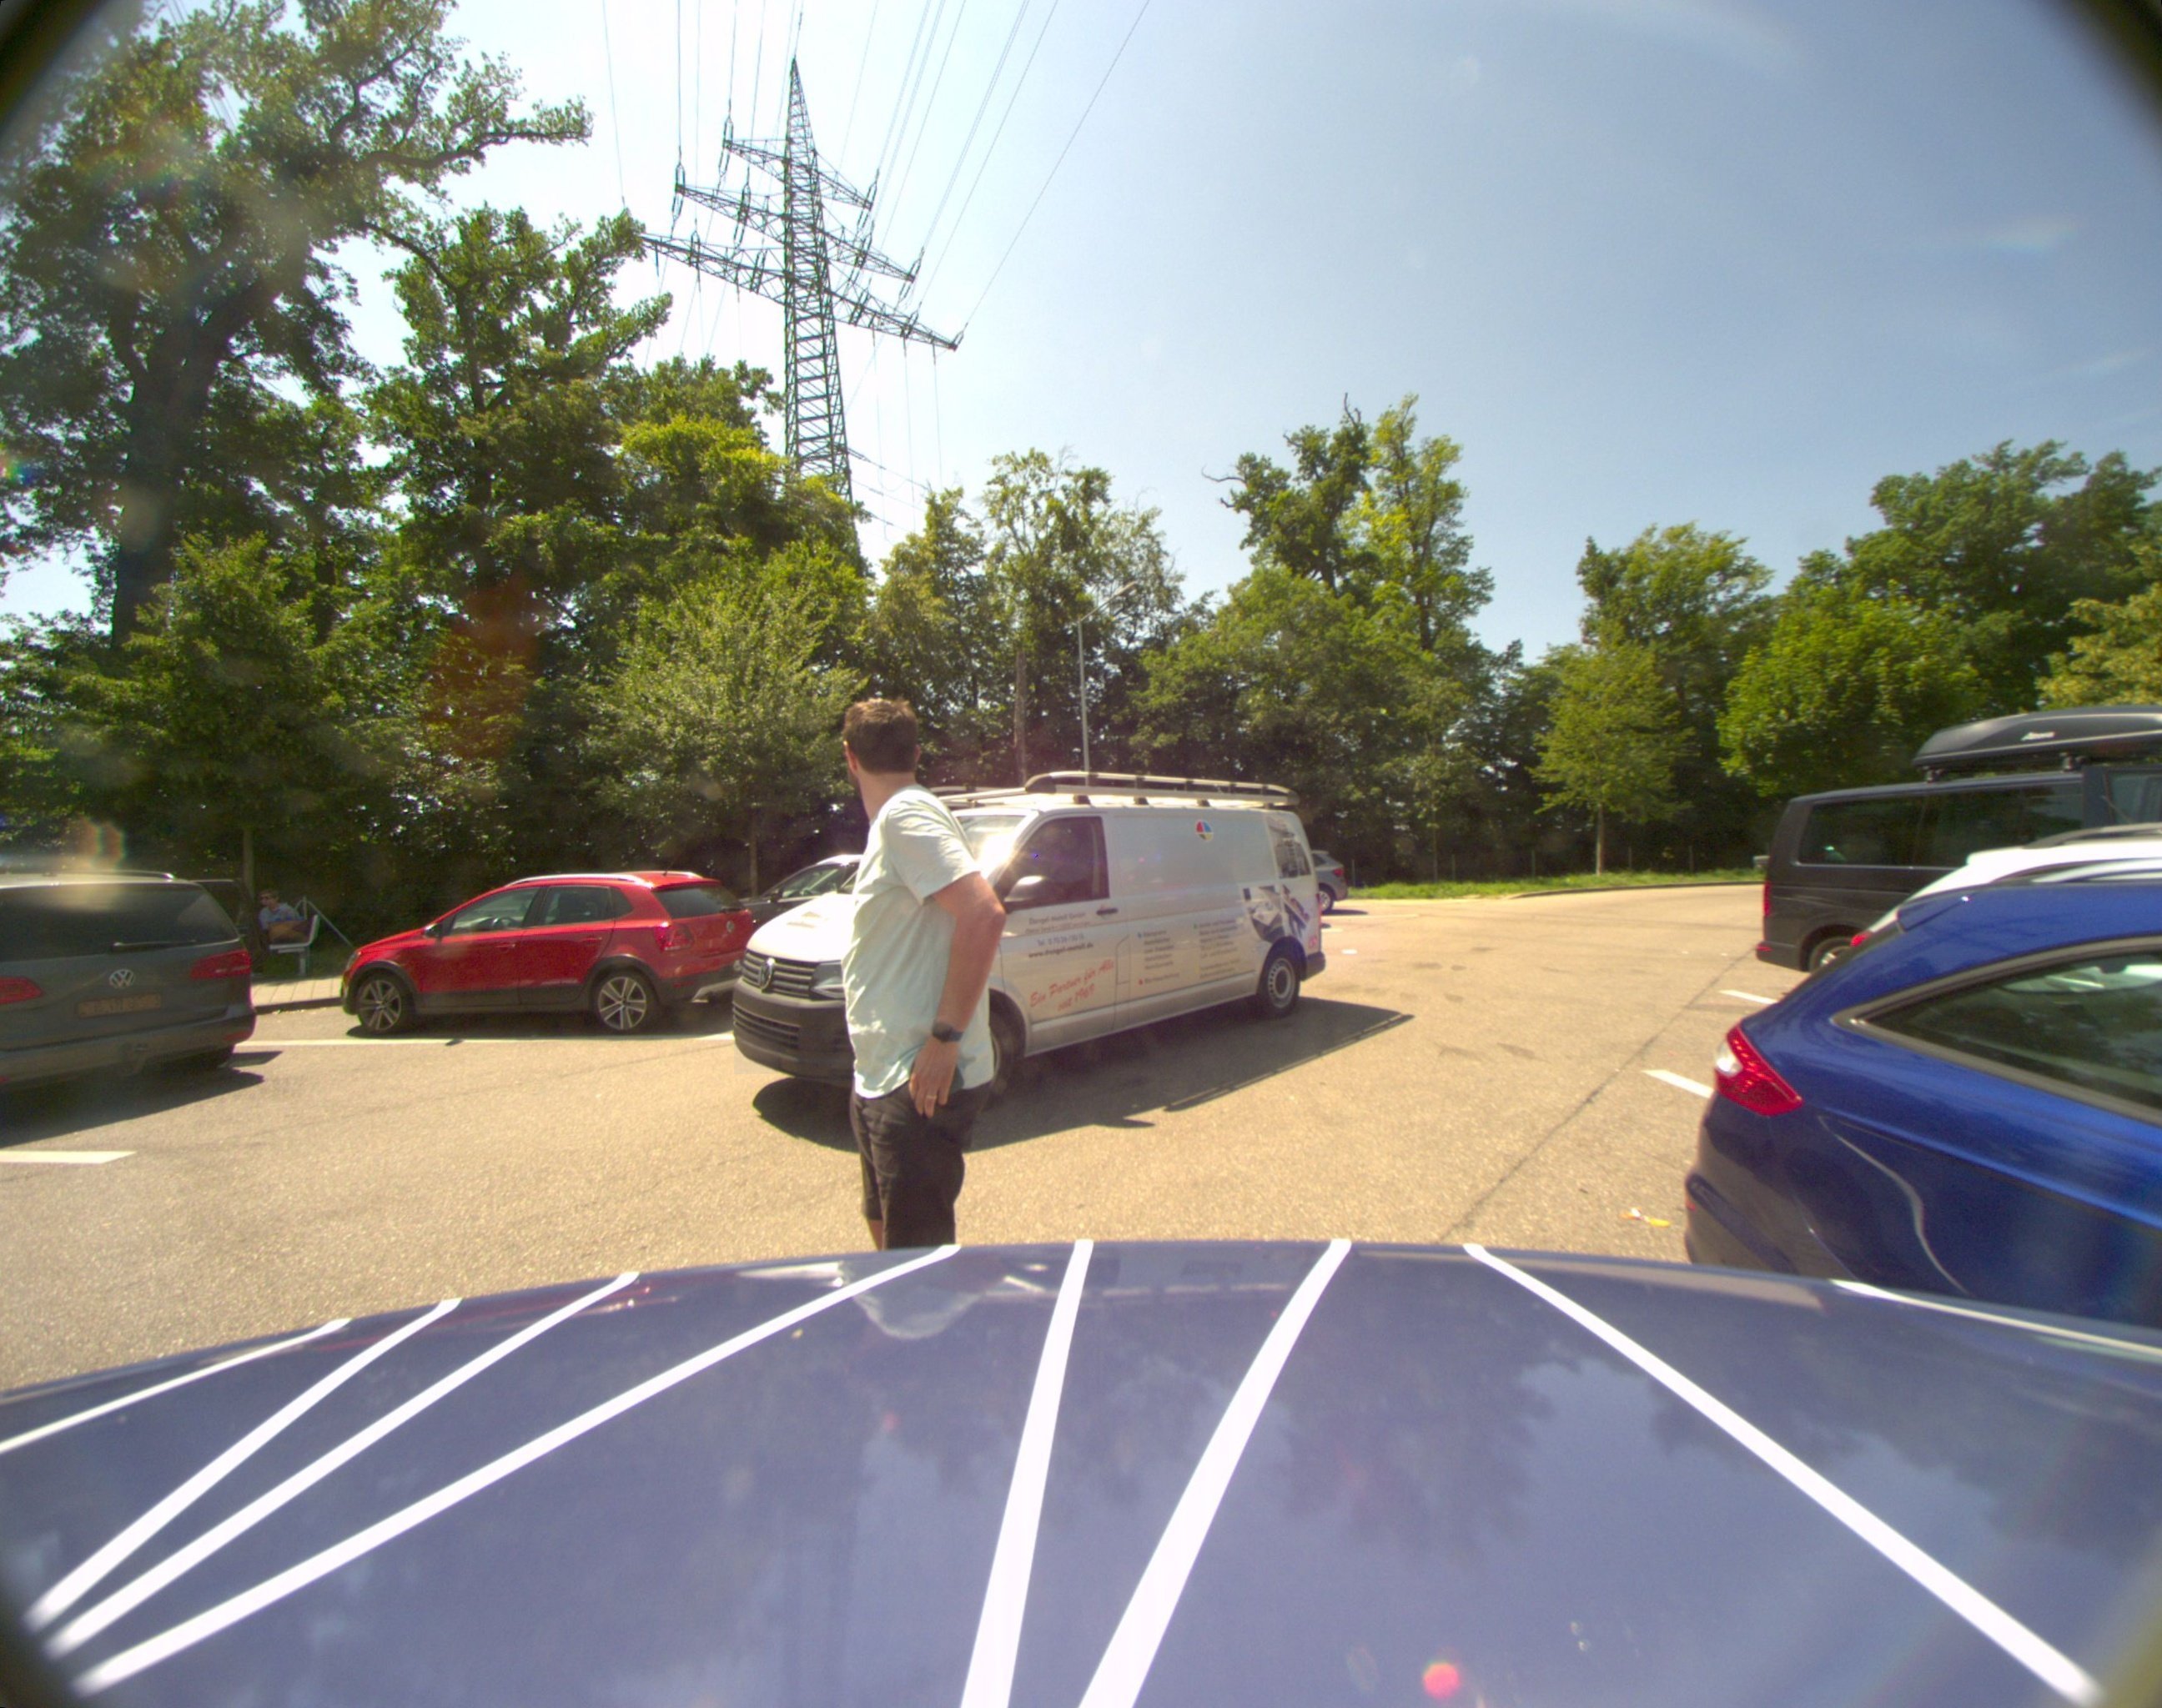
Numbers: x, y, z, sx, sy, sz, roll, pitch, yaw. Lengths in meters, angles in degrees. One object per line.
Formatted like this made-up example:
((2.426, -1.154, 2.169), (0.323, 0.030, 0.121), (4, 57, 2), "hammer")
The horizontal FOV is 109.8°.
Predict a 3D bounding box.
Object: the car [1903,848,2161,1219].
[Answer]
((4.677, 0.660, 2.141), (1.344, 1.352, 3.114), (-2, 0, 1), "car")

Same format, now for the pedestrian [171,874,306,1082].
((-7.385, 1.047, 6.676), (0.481, 1.712, 0.589), (-2, 1, 22), "pedestrian")

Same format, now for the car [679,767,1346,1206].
((0.004, 0.598, 6.186), (5.445, 2.092, 1.839), (-2, 1, -45), "car")

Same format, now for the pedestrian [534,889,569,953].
((-10.114, 1.267, 14.516), (0.366, 1.186, 0.356), (-2, 1, 21), "pedestrian")

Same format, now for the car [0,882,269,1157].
((-8.438, 1.105, 5.435), (3.903, 1.607, 1.705), (-2, 1, 11), "car")

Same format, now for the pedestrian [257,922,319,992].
((-10.861, 1.400, 10.420), (0.503, 0.873, 0.512), (-3, -1, -39), "pedestrian")

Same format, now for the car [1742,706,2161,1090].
((7.306, 0.248, 5.165), (1.788, 2.304, 4.084), (-2, 0, -5), "car")

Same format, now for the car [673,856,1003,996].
((-3.108, 0.902, 10.287), (3.866, 1.607, 1.709), (-2, 0, 0), "car")

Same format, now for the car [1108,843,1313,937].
((2.541, 0.695, 15.452), (3.850, 1.678, 1.755), (-2, 0, 4), "car")

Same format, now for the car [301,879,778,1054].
((-5.260, 1.064, 7.645), (3.745, 1.458, 1.621), (-2, 0, 7), "car")

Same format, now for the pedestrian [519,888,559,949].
((-10.964, 1.291, 15.377), (0.413, 1.186, 0.443), (-2, 1, 12), "pedestrian")

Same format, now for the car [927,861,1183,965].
((-0.337, 0.894, 12.212), (3.773, 1.445, 1.848), (-2, 0, 4), "car")

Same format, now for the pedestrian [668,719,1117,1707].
((-0.425, 0.687, 1.758), (0.738, 1.818, 0.615), (-2, 0, 35), "pedestrian")

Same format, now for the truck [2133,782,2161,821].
((40.274, -1.972, 27.166), (1.168, 1.367, 2.882), (-2, -1, -19), "truck")

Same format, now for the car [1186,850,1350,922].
((4.348, 0.734, 18.098), (3.585, 1.493, 1.707), (-2, 1, 8), "car")
